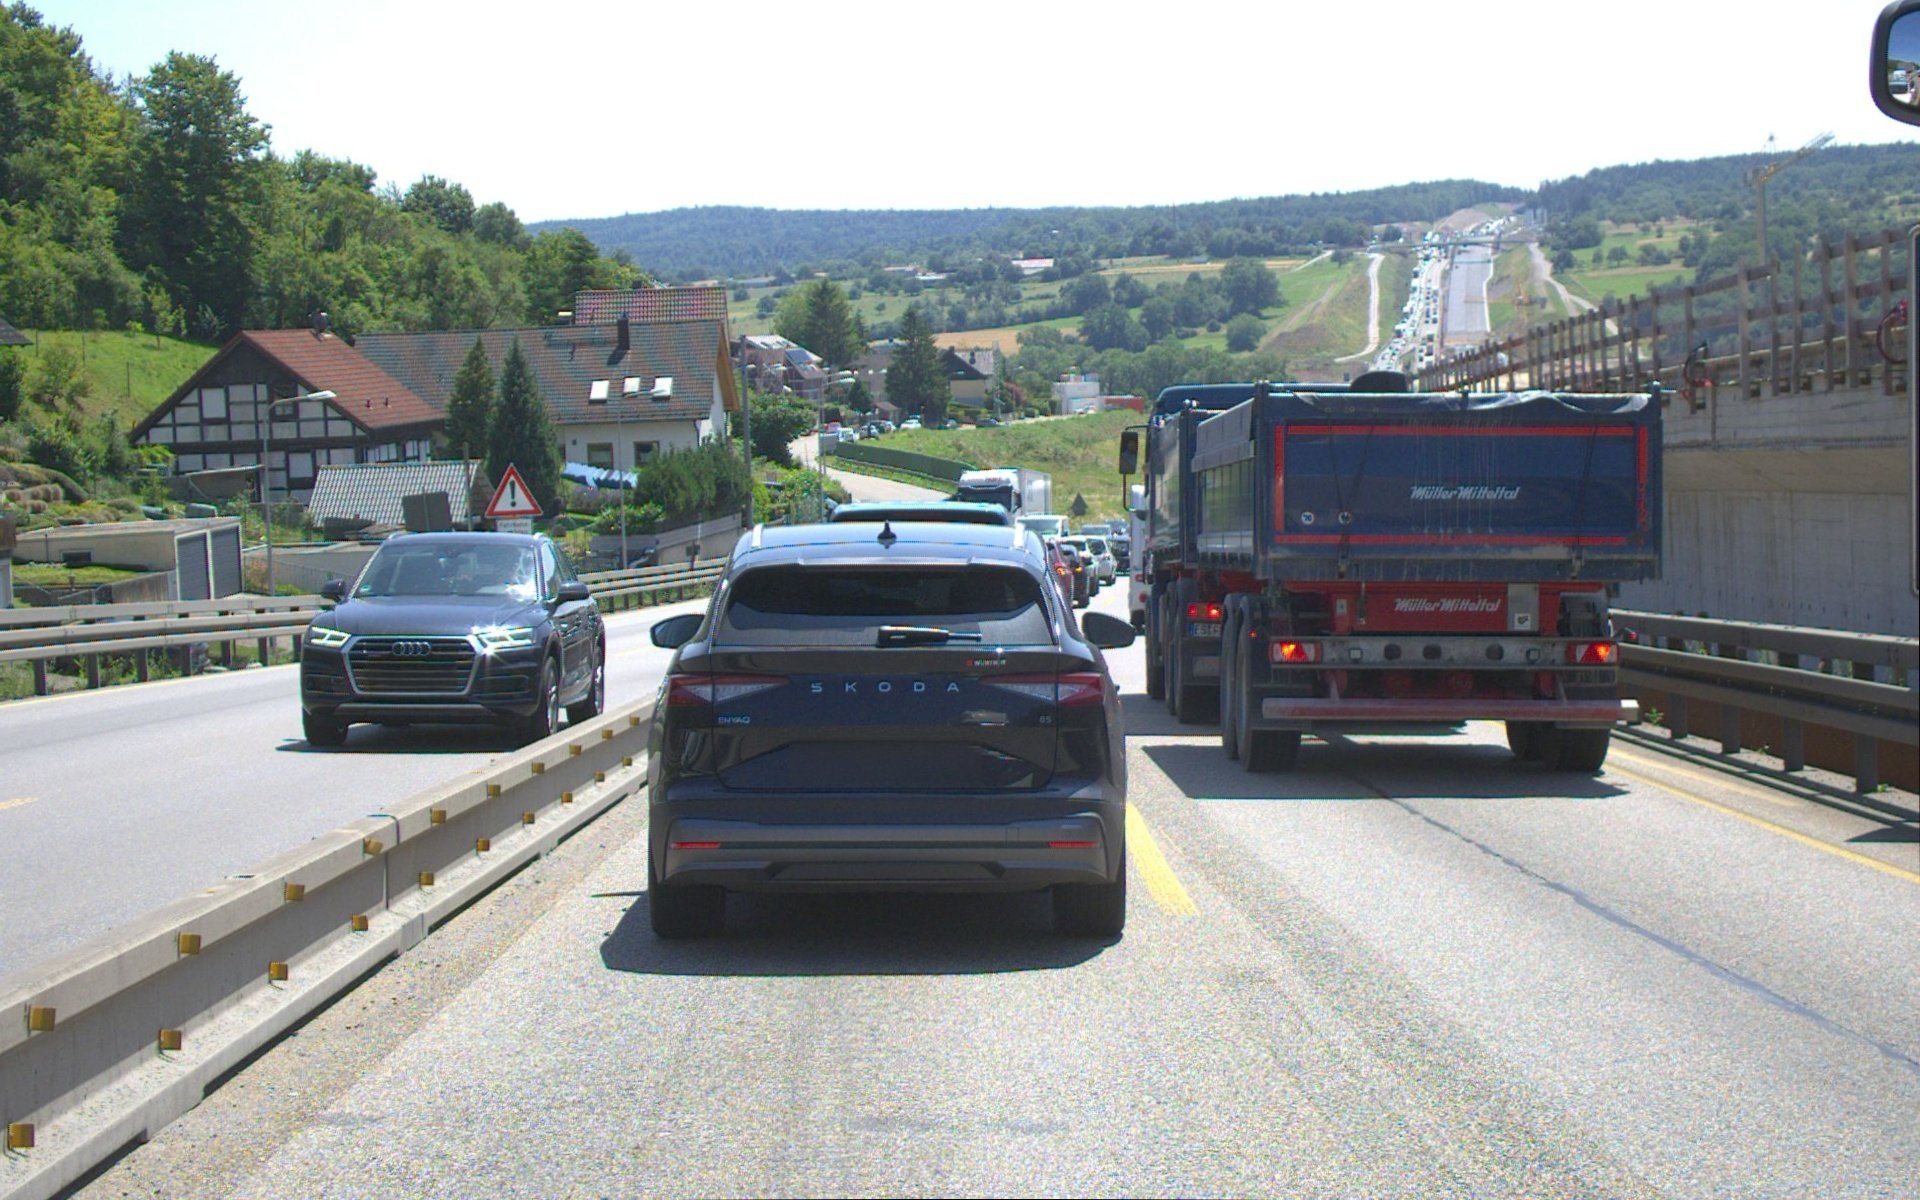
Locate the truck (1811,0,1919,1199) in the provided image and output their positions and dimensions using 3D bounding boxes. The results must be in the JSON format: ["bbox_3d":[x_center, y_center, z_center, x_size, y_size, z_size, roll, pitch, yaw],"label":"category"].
[{"bbox_3d":[2.887,-0.639,2.002,2.513,4.011,8.238,1,1,-1],"label":"truck"}]

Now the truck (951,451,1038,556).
[{"bbox_3d":[1.524,-4.100,148.046,3.303,4.347,8.300,1,1,3],"label":"truck"}]

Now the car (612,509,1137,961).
[{"bbox_3d":[-0.325,0.460,14.163,1.842,1.581,3.908,1,1,-1],"label":"car"}]

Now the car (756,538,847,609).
[{"bbox_3d":[-3.333,-0.585,72.788,1.747,1.421,3.710,0,2,0],"label":"car"}]

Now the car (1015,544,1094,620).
[{"bbox_3d":[2.195,-0.435,79.218,1.707,1.616,4.000,1,2,3],"label":"car"}]

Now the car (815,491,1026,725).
[{"bbox_3d":[-0.345,0.003,30.204,1.707,1.875,4.001,1,2,-1],"label":"car"}]

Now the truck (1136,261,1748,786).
[{"bbox_3d":[3.264,-0.530,27.361,3.195,3.180,12.809,0,1,1],"label":"truck"}]

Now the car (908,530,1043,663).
[{"bbox_3d":[0.172,-0.087,45.999,1.707,1.616,4.001,1,2,-1],"label":"car"}]

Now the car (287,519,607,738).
[{"bbox_3d":[-3.981,0.186,27.381,1.917,1.590,4.528,0,1,-1],"label":"car"}]

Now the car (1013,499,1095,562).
[{"bbox_3d":[2.503,-1.819,90.707,1.994,1.579,3.836,1,1,4],"label":"car"}]

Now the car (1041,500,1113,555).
[{"bbox_3d":[3.514,-2.153,102.775,1.994,1.579,3.836,1,1,4],"label":"car"}]

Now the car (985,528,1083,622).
[{"bbox_3d":[1.417,-0.496,64.768,1.707,1.616,4.000,1,2,3],"label":"car"}]
